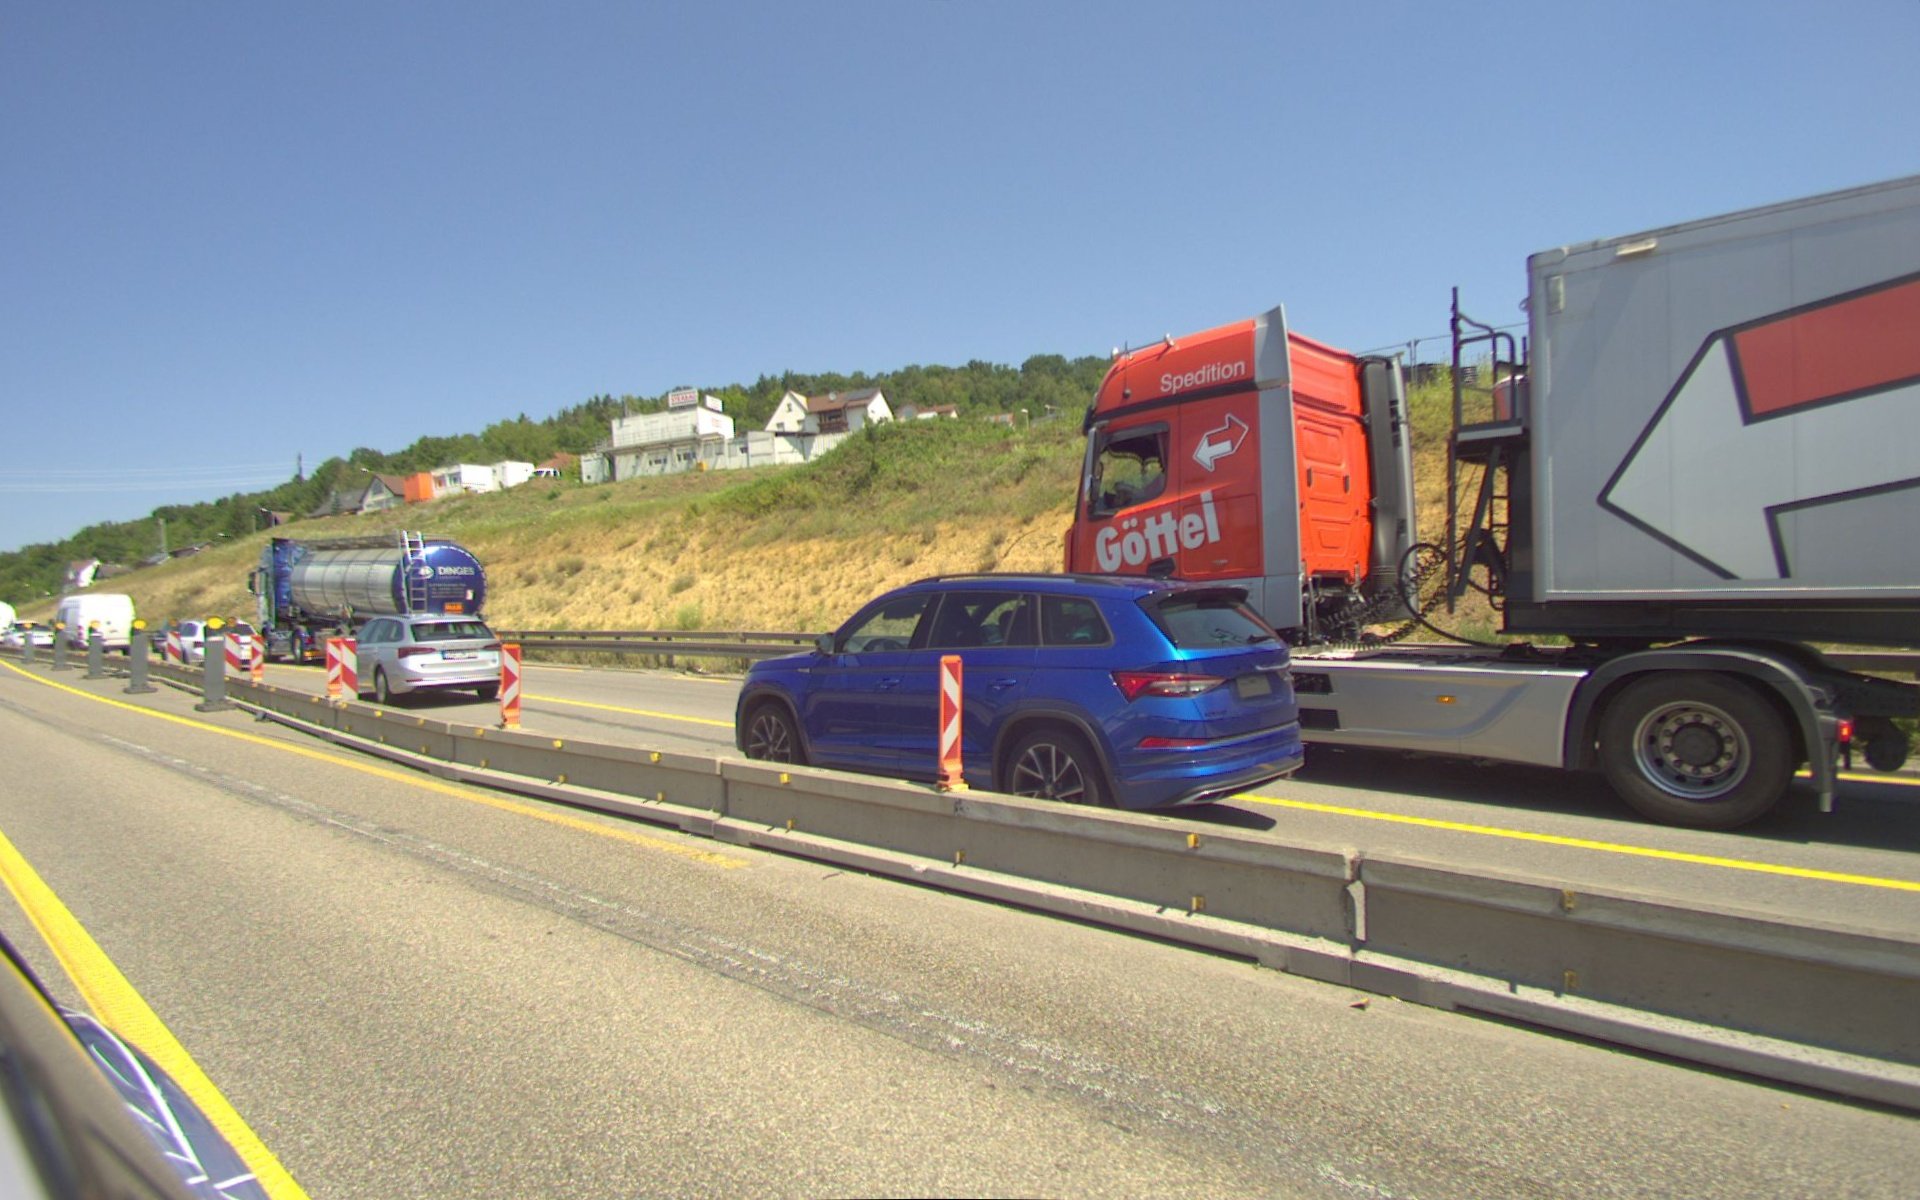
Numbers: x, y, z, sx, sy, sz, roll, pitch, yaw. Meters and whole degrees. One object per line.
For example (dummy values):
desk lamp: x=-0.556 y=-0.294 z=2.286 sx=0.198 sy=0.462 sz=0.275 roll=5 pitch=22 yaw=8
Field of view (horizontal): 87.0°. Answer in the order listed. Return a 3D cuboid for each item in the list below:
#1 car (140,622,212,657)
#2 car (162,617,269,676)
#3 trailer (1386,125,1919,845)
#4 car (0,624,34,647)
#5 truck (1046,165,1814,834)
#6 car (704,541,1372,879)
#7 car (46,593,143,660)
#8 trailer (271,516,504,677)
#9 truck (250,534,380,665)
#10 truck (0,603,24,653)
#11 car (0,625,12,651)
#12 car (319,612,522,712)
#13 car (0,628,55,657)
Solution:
car: x=-36.170 y=1.801 z=46.652 sx=4.387 sy=1.502 sz=1.815 roll=-2 pitch=0 yaw=41
car: x=-21.670 y=1.311 z=29.373 sx=1.813 sy=1.530 sz=4.846 roll=-1 pitch=0 yaw=-45
trailer: x=8.297 y=-0.662 z=4.221 sx=11.821 sy=3.844 sz=2.626 roll=-1 pitch=0 yaw=43
car: x=-70.405 y=2.615 z=75.223 sx=4.386 sy=1.648 sz=1.815 roll=-2 pitch=0 yaw=40
truck: x=3.675 y=-0.566 z=8.581 sx=5.378 sy=3.857 sz=2.558 roll=-1 pitch=0 yaw=41
car: x=0.249 y=0.581 z=7.300 sx=4.685 sy=1.676 sz=1.813 roll=-2 pitch=0 yaw=43
car: x=-37.520 y=1.136 z=43.798 sx=6.623 sy=2.649 sz=2.183 roll=-2 pitch=0 yaw=40
trailer: x=-16.879 y=-0.043 z=29.239 sx=11.274 sy=3.900 sz=2.571 roll=-1 pitch=0 yaw=43
truck: x=-21.324 y=-0.003 z=33.399 sx=4.589 sy=4.006 sz=2.554 roll=-1 pitch=0 yaw=43
truck: x=-84.664 y=2.402 z=88.299 sx=13.151 sy=4.077 sz=3.075 roll=-1 pitch=0 yaw=41
car: x=-64.791 y=2.538 z=67.473 sx=4.386 sy=1.648 sz=1.815 roll=-2 pitch=0 yaw=40
car: x=-9.289 y=0.976 z=17.252 sx=1.813 sy=1.440 sz=4.537 roll=-1 pitch=0 yaw=-45
car: x=-49.151 y=2.219 z=53.159 sx=4.386 sy=1.387 sz=1.815 roll=-2 pitch=0 yaw=40
